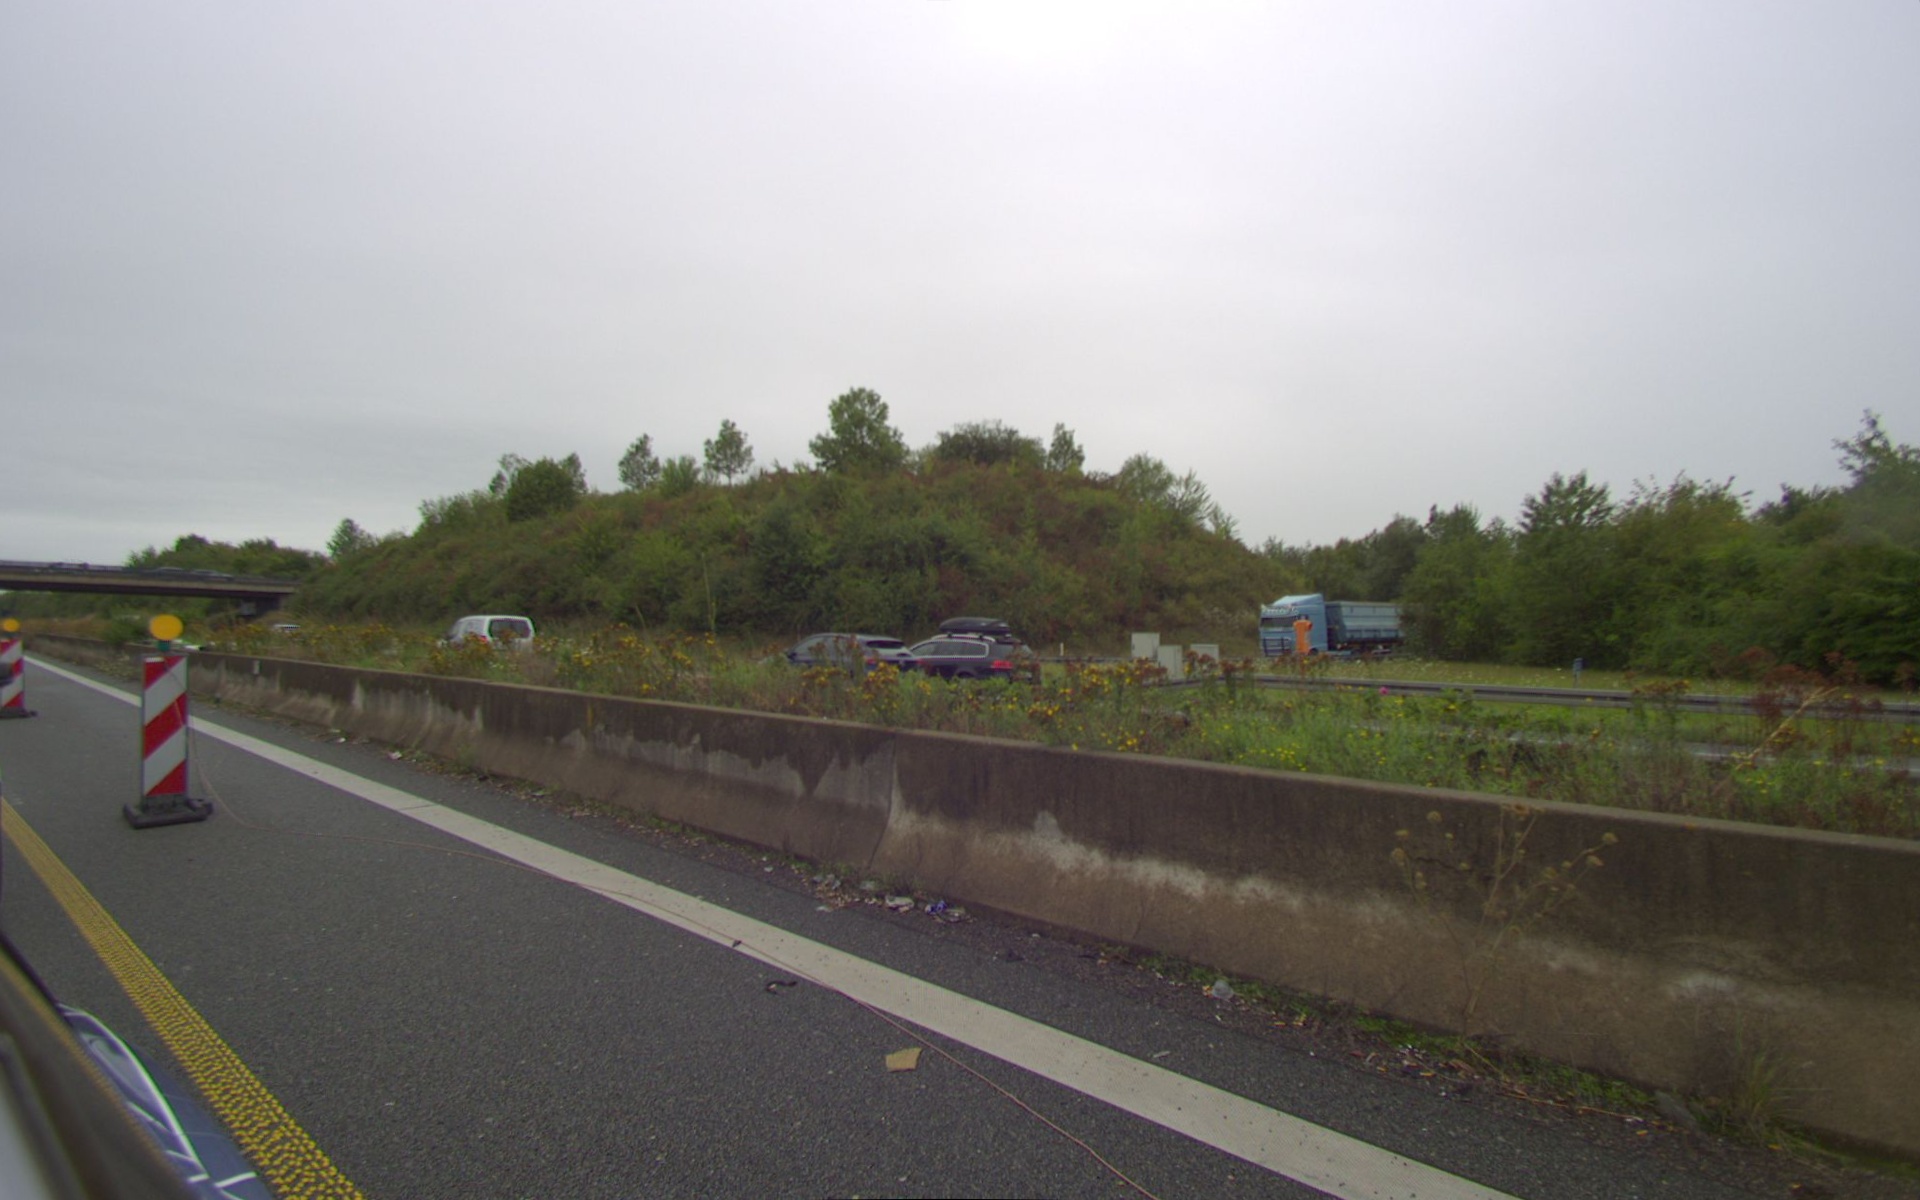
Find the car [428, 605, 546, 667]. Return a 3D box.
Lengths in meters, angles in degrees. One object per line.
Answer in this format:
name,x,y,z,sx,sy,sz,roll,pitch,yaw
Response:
car,-14.901,1.069,31.796,4.000,1.815,1.972,0,0,43

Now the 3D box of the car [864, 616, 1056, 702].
car,-0.063,1.322,23.545,4.227,1.803,1.973,-2,-3,41

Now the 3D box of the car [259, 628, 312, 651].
car,-44.826,2.594,67.260,4.108,1.491,1.972,-2,-3,42

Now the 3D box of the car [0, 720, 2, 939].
car,-6.582,0.654,5.379,4.645,1.798,1.747,-1,-1,41

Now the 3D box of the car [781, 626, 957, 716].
car,-1.871,1.340,20.165,3.662,1.543,1.436,0,0,44

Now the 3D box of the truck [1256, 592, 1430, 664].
truck,22.092,1.673,57.566,14.354,3.647,2.904,2,-3,-42

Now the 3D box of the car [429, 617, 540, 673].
car,-14.971,1.395,31.797,4.001,1.662,1.847,-2,-3,44
